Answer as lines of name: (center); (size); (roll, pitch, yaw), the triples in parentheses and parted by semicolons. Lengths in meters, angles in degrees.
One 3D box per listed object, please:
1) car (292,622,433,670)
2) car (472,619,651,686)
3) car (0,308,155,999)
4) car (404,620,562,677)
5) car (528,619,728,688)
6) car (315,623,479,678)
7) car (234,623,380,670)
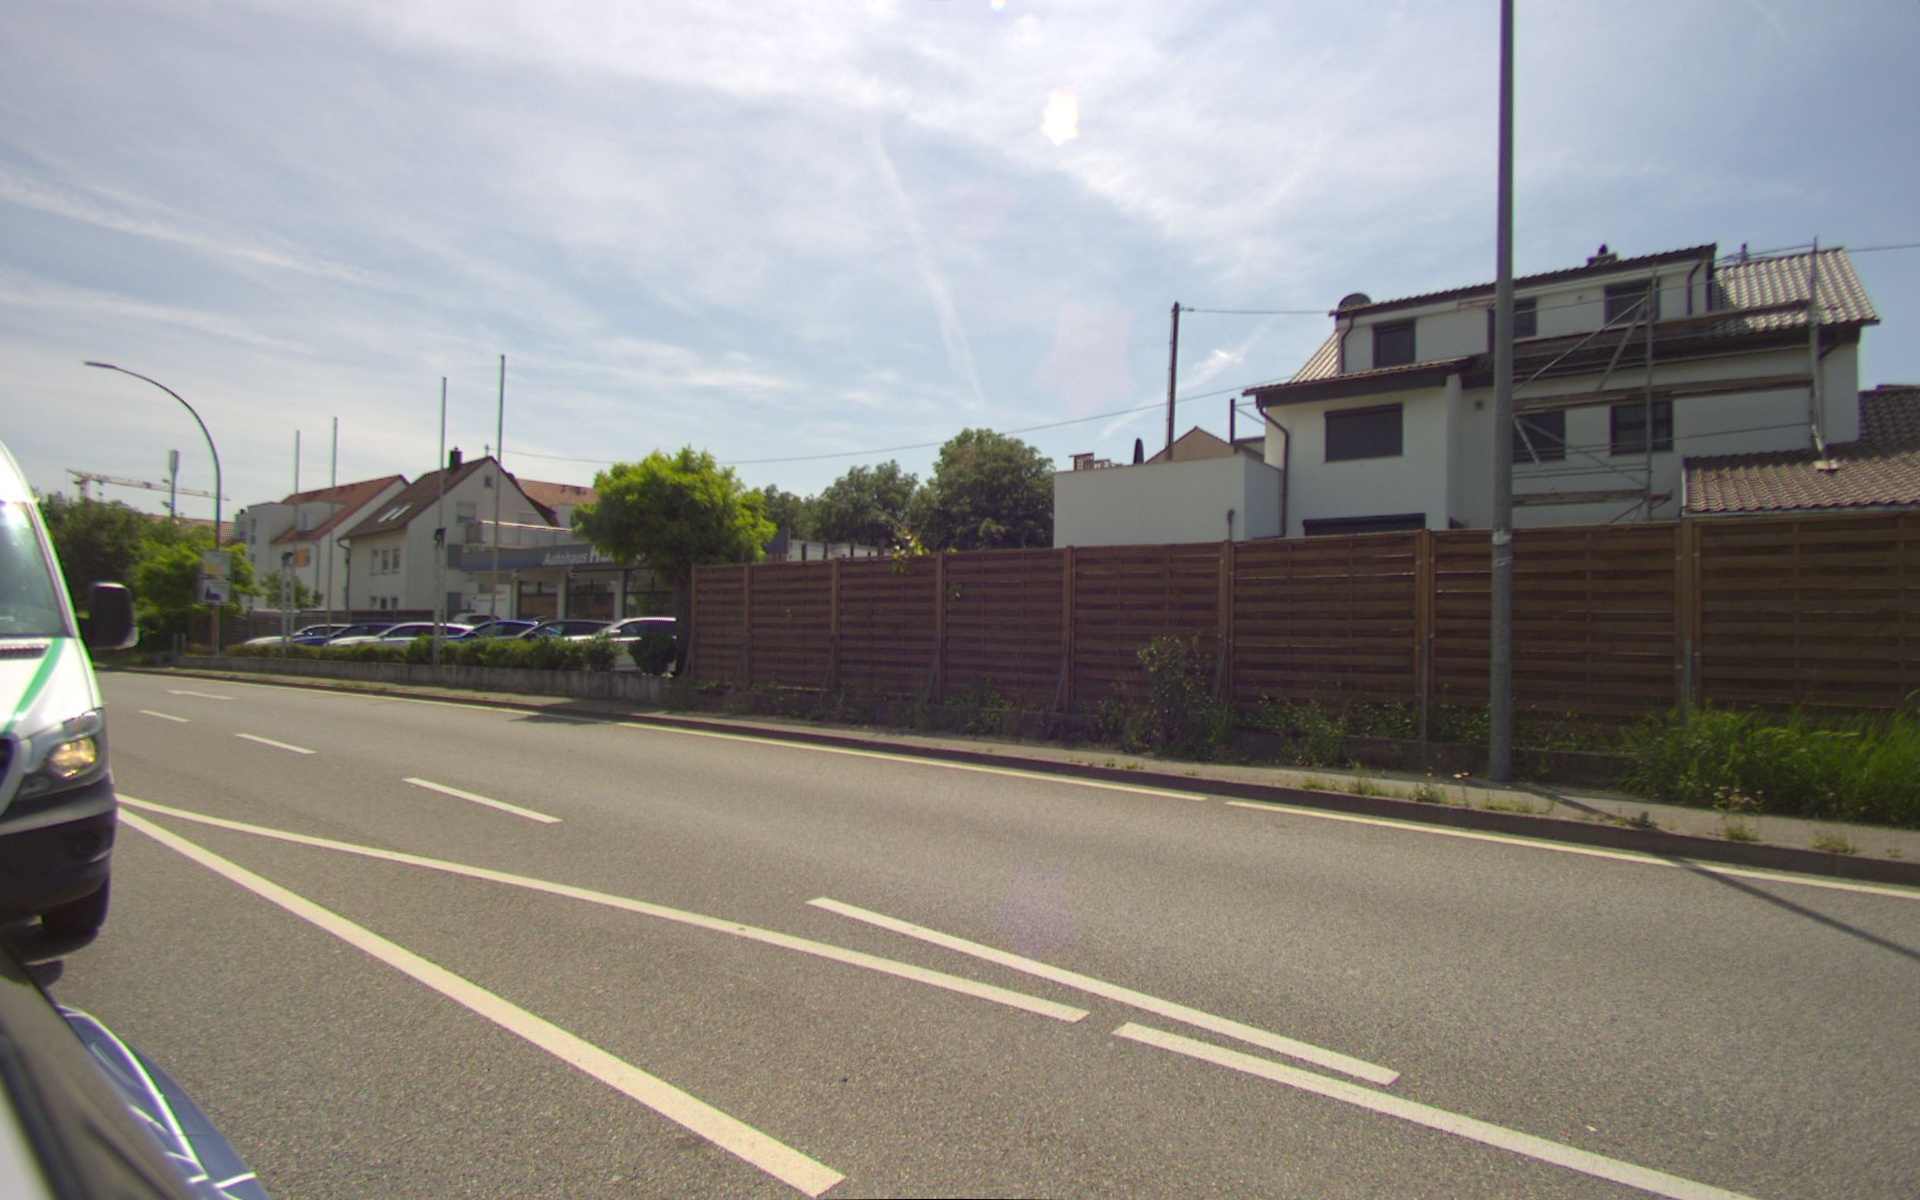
car: (-20.150, 1.535, 34.320); (3.930, 1.475, 2.006); (-1, -1, -24)
car: (-10.417, 1.325, 26.490); (4.187, 1.557, 1.856); (-1, -1, -28)
car: (-6.132, 0.261, 5.226); (5.628, 2.619, 1.953); (-2, -1, 39)
car: (-13.551, 1.347, 28.885); (3.931, 1.453, 1.860); (-1, -1, -25)
car: (-7.809, 1.196, 23.829); (4.264, 1.471, 1.861); (0, -1, -26)
car: (-17.279, 1.517, 31.315); (4.238, 1.530, 2.006); (-1, -1, -23)
car: (-23.539, 1.634, 36.699); (4.192, 1.541, 2.006); (-1, -1, -24)
